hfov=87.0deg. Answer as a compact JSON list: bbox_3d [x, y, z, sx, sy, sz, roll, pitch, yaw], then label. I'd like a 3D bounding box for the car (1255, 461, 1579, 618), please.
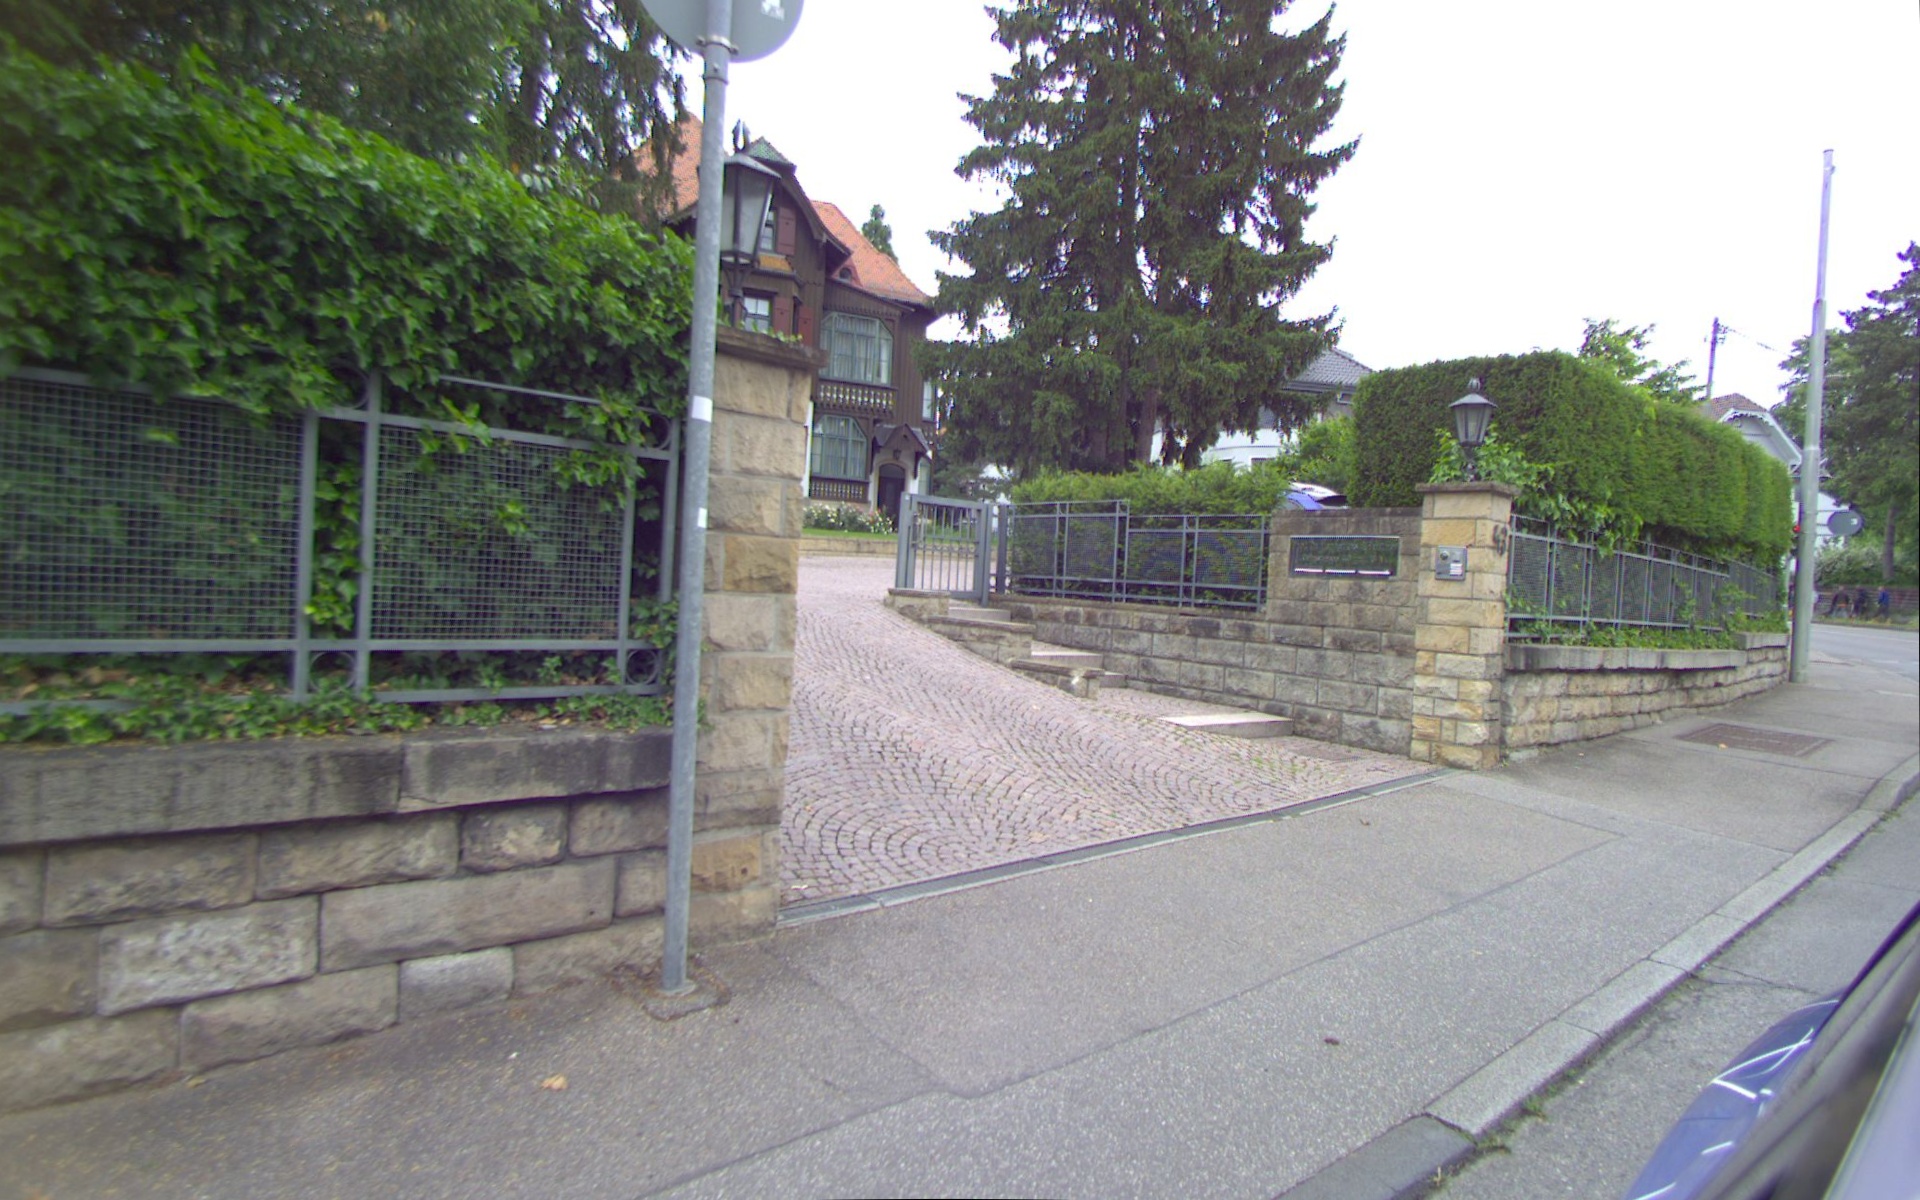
[{"bbox_3d":[6.565,-0.954,14.860,1.782,1.628,3.755,0,11,-41],"label":"car"}]

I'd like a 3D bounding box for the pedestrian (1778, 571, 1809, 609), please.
[{"bbox_3d":[41.134,-0.502,49.969,0.862,1.836,0.689,2,2,-12],"label":"pedestrian"}]

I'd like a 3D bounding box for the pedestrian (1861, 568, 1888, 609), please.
[{"bbox_3d":[43.308,-0.542,47.935,0.591,1.857,0.614,2,2,-13],"label":"pedestrian"}]

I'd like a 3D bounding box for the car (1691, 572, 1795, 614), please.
[{"bbox_3d":[33.767,-0.339,43.772,1.590,1.599,3.998,2,3,5],"label":"car"}]

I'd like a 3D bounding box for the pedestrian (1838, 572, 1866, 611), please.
[{"bbox_3d":[41.851,-0.403,47.476,0.600,1.809,0.668,2,2,-16],"label":"pedestrian"}]

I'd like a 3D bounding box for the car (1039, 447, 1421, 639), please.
[{"bbox_3d":[3.166,-0.801,12.528,1.965,1.628,4.004,0,11,-41],"label":"car"}]
